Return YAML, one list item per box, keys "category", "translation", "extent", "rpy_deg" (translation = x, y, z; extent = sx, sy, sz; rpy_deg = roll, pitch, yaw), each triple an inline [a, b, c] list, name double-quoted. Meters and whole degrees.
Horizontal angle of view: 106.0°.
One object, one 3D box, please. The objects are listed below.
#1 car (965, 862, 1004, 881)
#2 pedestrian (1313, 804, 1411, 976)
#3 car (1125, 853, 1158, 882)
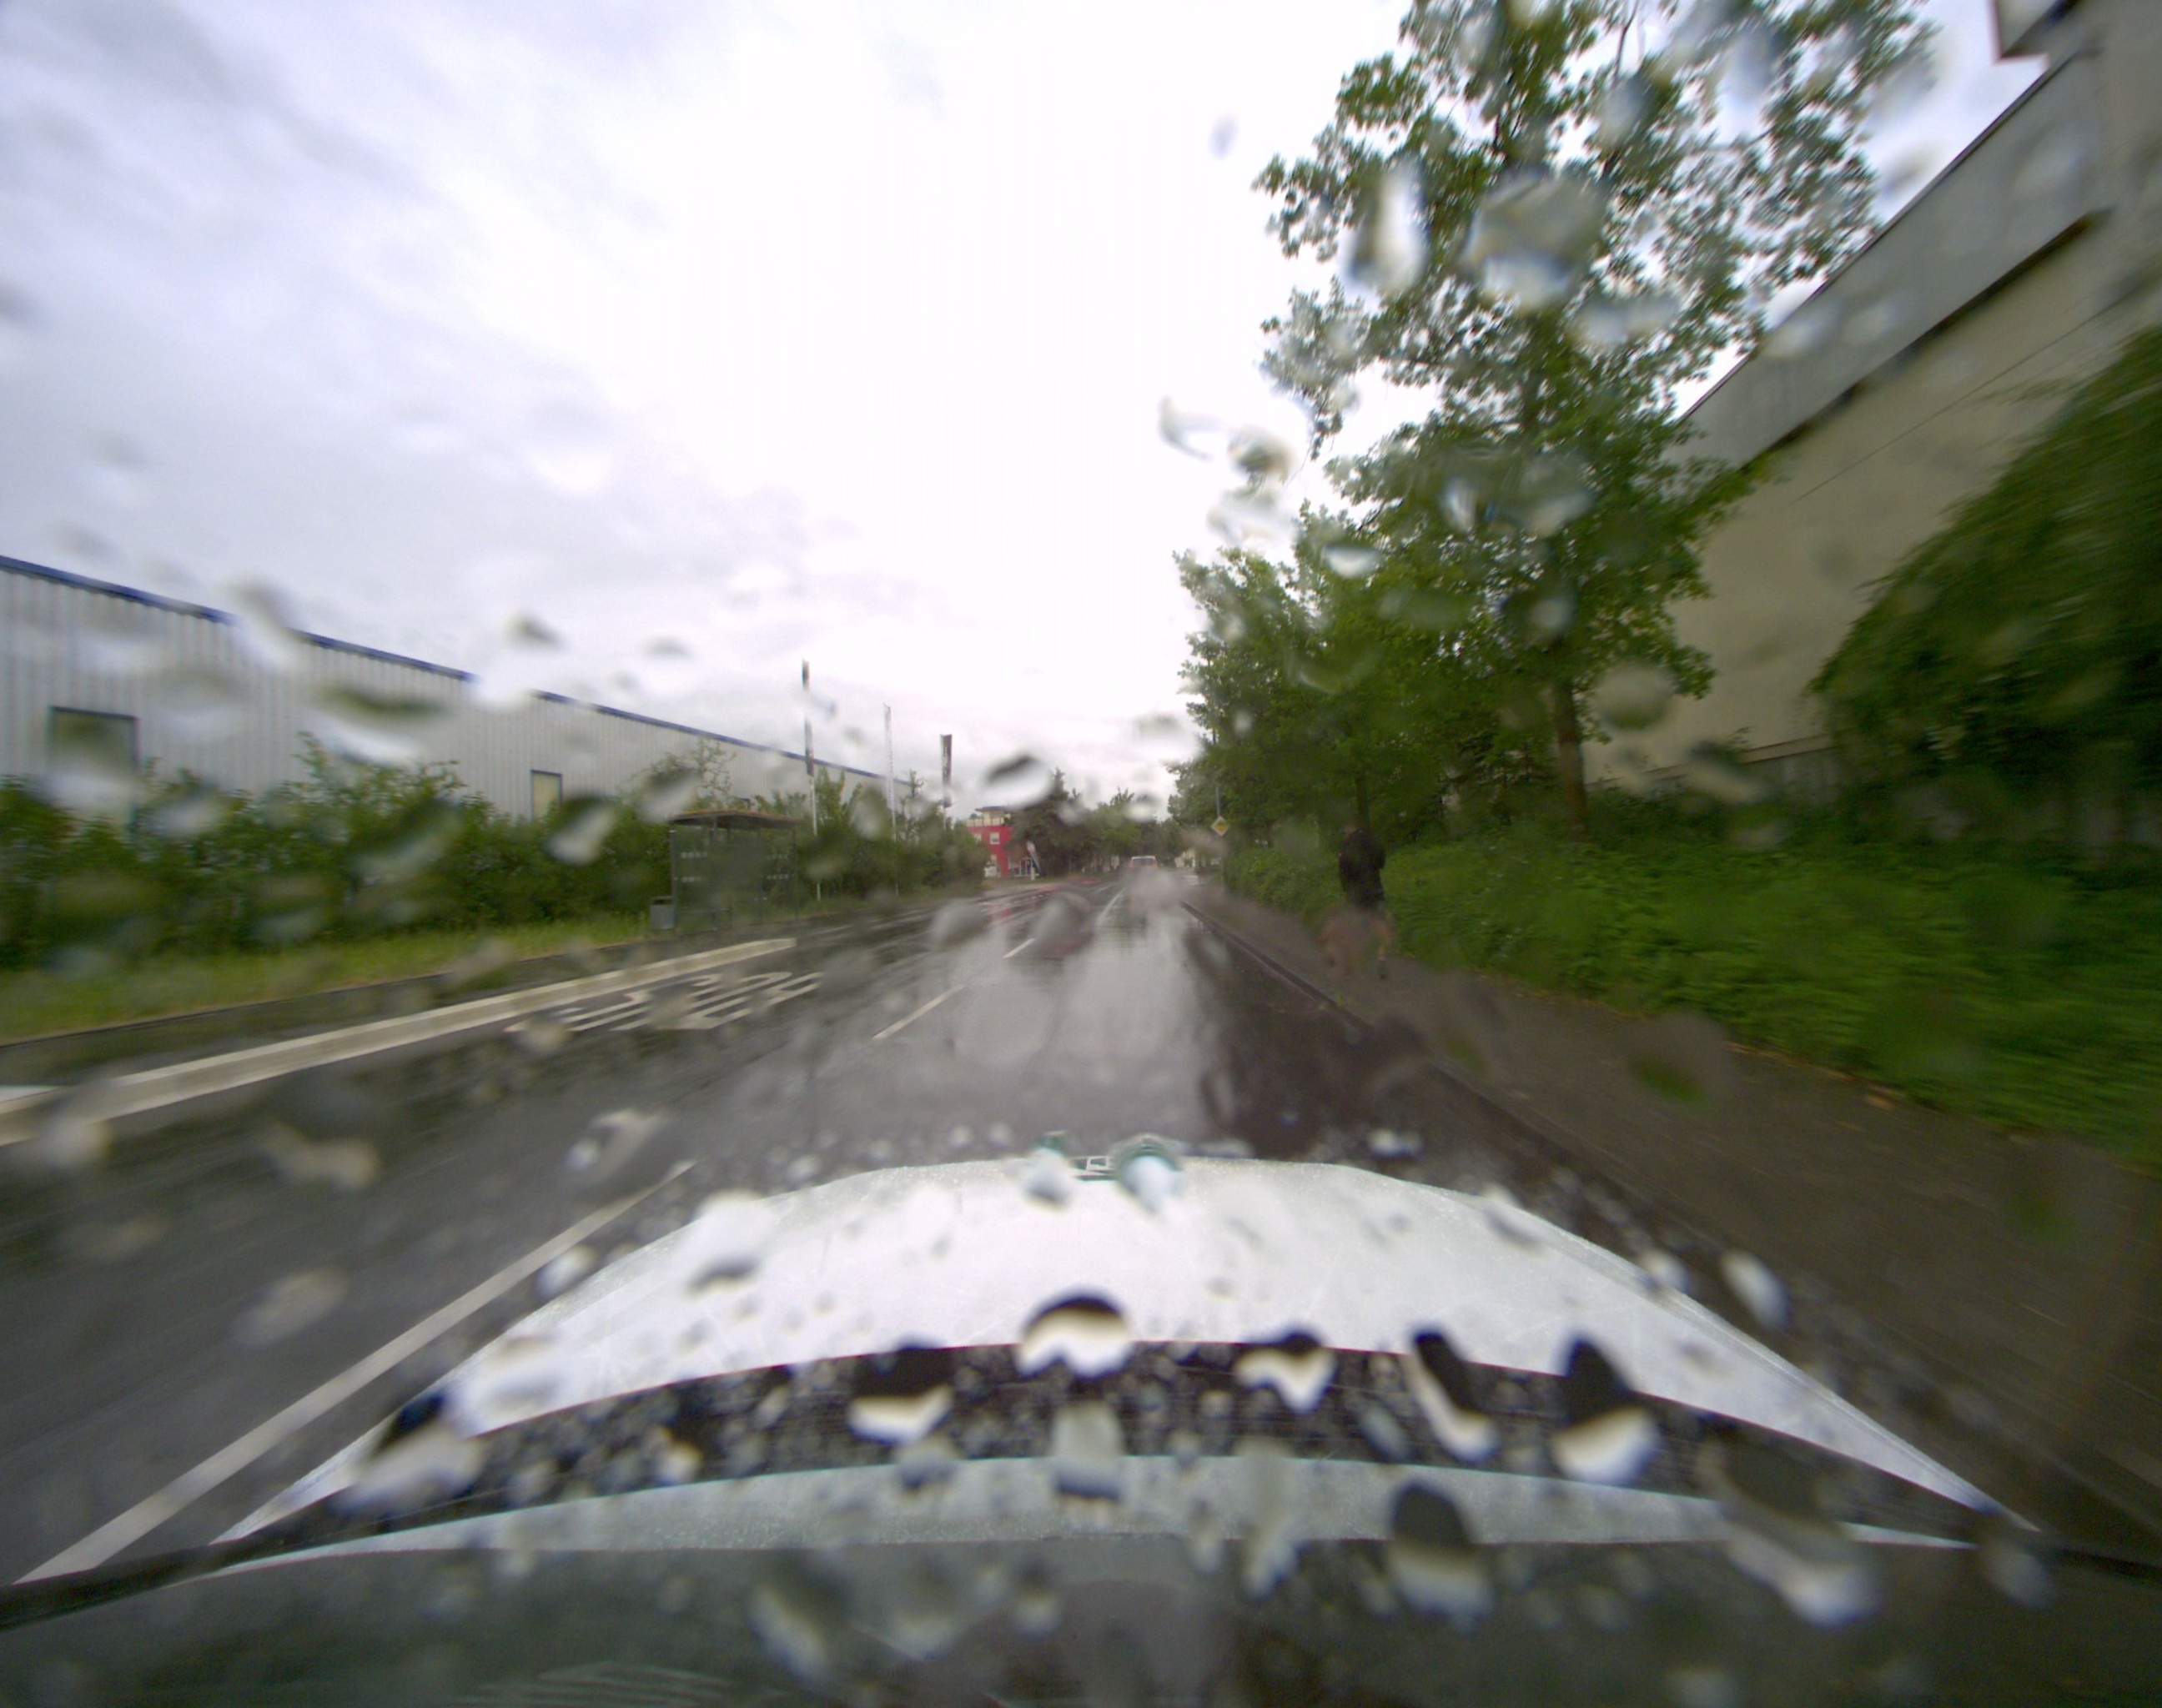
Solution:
- category: "car"
  translation: [-12.328, 2.275, 104.013]
  extent: [4.447, 2.310, 2.192]
  rpy_deg: [-1, 0, 12]
- category: "pedestrian"
  translation: [3.206, 0.393, 9.358]
  extent: [0.742, 1.838, 0.890]
  rpy_deg: [-3, 0, 2]
- category: "car"
  translation: [4.181, 0.879, 56.152]
  extent: [2.107, 1.888, 4.507]
  rpy_deg: [-1, 0, 4]
